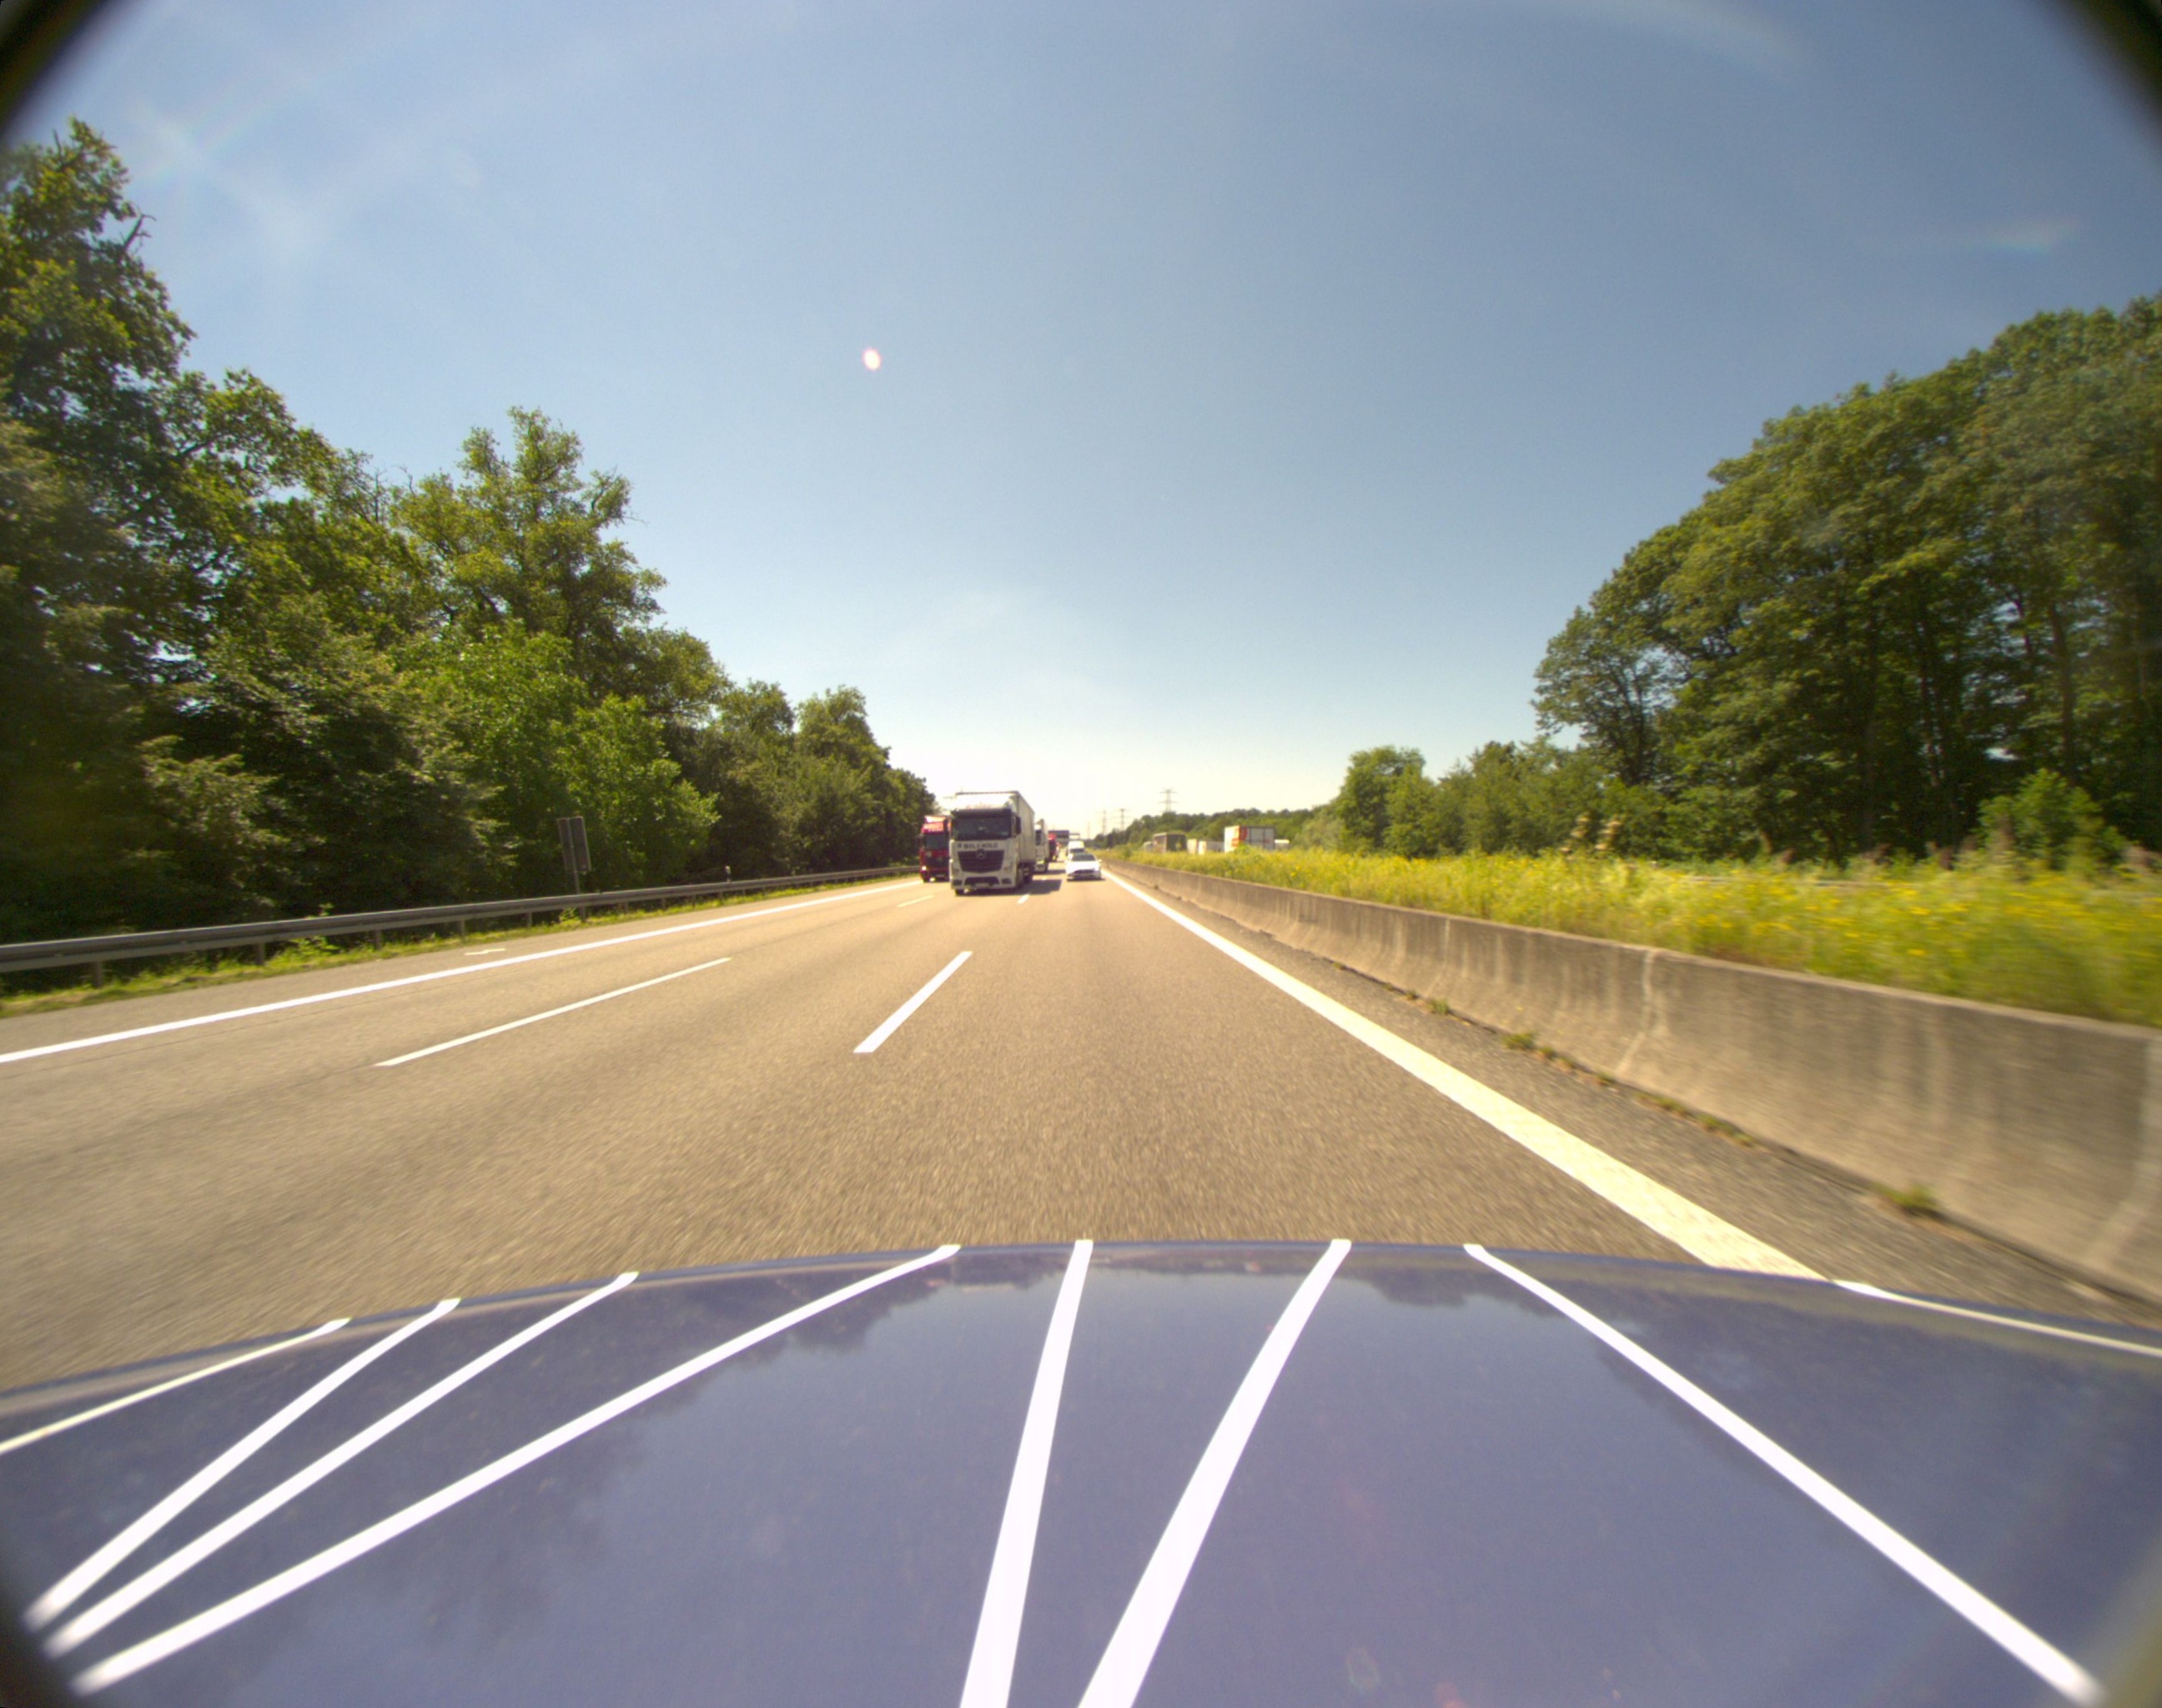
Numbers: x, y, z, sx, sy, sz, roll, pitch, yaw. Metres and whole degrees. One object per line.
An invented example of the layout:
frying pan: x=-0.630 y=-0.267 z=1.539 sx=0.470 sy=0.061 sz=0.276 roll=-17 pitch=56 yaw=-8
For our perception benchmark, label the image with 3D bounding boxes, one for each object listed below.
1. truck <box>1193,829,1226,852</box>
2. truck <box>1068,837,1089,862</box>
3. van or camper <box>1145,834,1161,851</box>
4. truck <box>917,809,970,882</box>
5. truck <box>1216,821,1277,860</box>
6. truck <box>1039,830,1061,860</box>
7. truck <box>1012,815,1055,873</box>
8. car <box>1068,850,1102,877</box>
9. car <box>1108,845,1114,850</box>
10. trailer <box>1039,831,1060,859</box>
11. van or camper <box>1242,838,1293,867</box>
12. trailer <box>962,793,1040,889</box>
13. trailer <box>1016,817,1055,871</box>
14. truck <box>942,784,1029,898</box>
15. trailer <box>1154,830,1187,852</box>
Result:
truck: x=17.473 y=-1.784 z=104.026 sx=2.694 sy=2.925 sz=10.484 roll=-1 pitch=1 yaw=-1
truck: x=-0.334 y=-0.573 z=91.126 sx=2.192 sy=2.842 sz=5.502 roll=-2 pitch=1 yaw=-2
van or camper: x=14.701 y=-2.343 z=156.477 sx=2.514 sy=3.137 sz=7.533 roll=-2 pitch=1 yaw=0
truck: x=-8.392 y=-0.528 z=46.755 sx=2.335 sy=4.206 sz=4.672 roll=-2 pitch=1 yaw=-1
truck: x=10.555 y=-0.871 z=48.963 sx=2.317 sy=2.313 sz=6.077 roll=-2 pitch=1 yaw=-3
truck: x=-4.517 y=-1.308 z=109.379 sx=2.949 sy=3.963 sz=6.099 roll=-2 pitch=1 yaw=-2
truck: x=-3.438 y=-0.730 z=56.356 sx=2.807 sy=3.984 sz=6.018 roll=-2 pitch=1 yaw=-2
car: x=0.212 y=0.535 z=44.910 sx=1.788 sy=1.462 sz=3.999 roll=-1 pitch=1 yaw=-2
car: x=10.314 y=-2.348 z=263.122 sx=1.653 sy=1.635 sz=3.999 roll=0 pitch=1 yaw=-1
trailer: x=-4.899 y=-1.444 z=118.183 sx=2.946 sy=3.995 sz=16.193 roll=-2 pitch=1 yaw=-2
van or camper: x=14.213 y=-0.151 z=58.259 sx=2.227 sy=2.002 sz=5.885 roll=-2 pitch=1 yaw=-2
trailer: x=-3.880 y=-0.719 z=40.401 sx=2.715 sy=4.045 sz=14.740 roll=-2 pitch=1 yaw=-1
trailer: x=-3.666 y=-0.817 z=64.186 sx=2.802 sy=4.012 sz=12.563 roll=-2 pitch=1 yaw=-2
truck: x=-3.697 y=-0.541 z=30.881 sx=2.707 sy=4.071 sz=6.451 roll=-2 pitch=1 yaw=-1
trailer: x=12.592 y=-1.806 z=108.018 sx=2.649 sy=2.952 sz=14.229 roll=-1 pitch=1 yaw=-1
